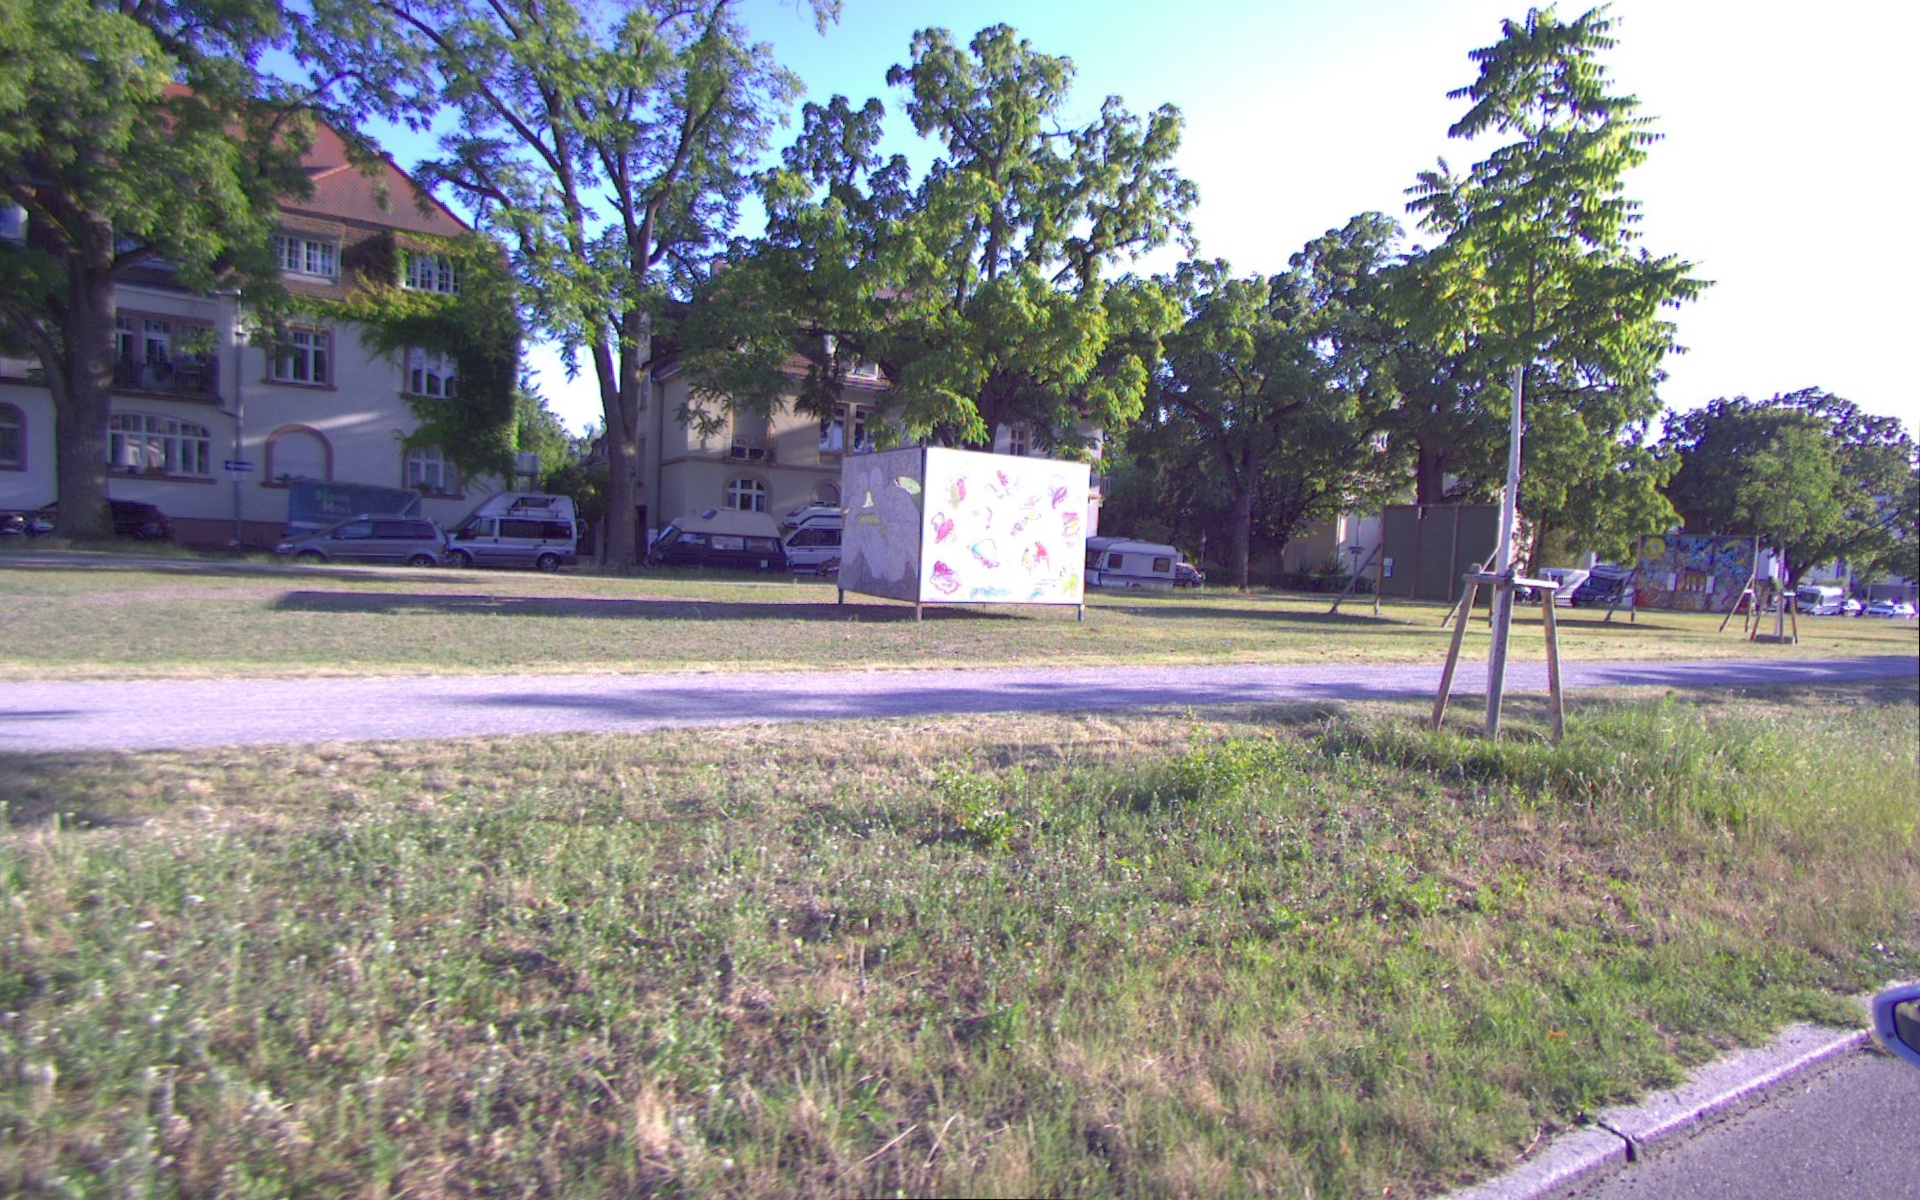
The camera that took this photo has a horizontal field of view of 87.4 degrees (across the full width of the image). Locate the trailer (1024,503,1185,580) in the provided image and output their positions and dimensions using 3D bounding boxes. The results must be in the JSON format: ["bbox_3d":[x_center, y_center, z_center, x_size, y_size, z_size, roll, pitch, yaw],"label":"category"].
[{"bbox_3d":[6.090,-2.344,42.011,6.562,2.694,2.460,3,0,-31],"label":"trailer"}]

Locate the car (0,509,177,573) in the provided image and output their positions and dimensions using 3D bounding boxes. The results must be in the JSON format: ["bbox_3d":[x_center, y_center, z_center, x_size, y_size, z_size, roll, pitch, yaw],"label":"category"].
[{"bbox_3d":[-26.293,-1.766,29.954,4.391,1.683,1.919,1,4,-30],"label":"car"}]

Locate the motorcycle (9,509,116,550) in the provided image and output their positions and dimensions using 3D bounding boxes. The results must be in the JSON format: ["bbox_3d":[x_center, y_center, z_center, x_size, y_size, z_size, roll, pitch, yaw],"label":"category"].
[{"bbox_3d":[-23.737,-1.867,26.601,2.096,0.970,0.559,0,5,-43],"label":"motorcycle"}]

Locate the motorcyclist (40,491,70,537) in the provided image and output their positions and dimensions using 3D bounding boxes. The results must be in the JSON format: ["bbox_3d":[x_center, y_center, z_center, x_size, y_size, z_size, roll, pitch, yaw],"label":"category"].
[{"bbox_3d":[-23.928,-2.279,26.566,0.571,1.165,0.740,0,5,-44],"label":"motorcyclist"}]

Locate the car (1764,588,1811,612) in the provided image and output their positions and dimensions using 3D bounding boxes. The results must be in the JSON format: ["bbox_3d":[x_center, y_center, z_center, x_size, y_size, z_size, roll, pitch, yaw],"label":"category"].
[{"bbox_3d":[73.645,-0.015,89.363,4.660,1.879,1.721,3,0,-31],"label":"car"}]

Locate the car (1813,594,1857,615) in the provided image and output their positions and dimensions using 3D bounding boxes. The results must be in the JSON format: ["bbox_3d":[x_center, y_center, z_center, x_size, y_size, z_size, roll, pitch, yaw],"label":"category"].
[{"bbox_3d":[82.364,0.432,94.552,4.613,1.725,1.773,3,0,-31],"label":"car"}]

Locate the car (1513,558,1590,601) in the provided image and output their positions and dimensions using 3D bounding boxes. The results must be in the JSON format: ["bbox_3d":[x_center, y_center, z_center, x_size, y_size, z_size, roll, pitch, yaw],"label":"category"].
[{"bbox_3d":[41.666,-1.414,70.709,6.020,2.632,1.983,3,0,-31],"label":"car"}]

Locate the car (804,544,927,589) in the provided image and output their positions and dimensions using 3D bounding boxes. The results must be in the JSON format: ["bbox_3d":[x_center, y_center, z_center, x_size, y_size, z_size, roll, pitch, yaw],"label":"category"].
[{"bbox_3d":[-3.435,-1.212,36.500,3.991,1.333,1.845,2,5,-28],"label":"car"}]

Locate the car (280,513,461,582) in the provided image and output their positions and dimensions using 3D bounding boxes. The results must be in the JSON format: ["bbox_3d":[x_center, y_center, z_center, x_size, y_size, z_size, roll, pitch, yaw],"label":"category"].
[{"bbox_3d":[-16.730,-1.486,28.658,4.295,1.752,1.983,1,4,-32],"label":"car"}]

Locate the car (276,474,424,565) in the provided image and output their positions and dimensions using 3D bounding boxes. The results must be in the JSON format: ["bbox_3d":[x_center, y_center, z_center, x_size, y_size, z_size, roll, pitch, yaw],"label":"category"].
[{"bbox_3d":[-20.095,-2.627,33.269,3.954,2.575,1.984,3,3,-30],"label":"car"}]

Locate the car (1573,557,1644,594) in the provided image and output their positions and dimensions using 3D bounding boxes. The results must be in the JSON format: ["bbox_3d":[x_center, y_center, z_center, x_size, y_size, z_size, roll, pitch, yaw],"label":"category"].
[{"bbox_3d":[40.337,-1.498,62.484,3.952,2.041,1.984,1,4,-30],"label":"car"}]

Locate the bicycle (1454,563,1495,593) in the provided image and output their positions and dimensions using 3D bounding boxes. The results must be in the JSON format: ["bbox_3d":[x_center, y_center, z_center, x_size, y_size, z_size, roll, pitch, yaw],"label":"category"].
[{"bbox_3d":[25.857,-1.097,50.454,2.300,1.360,0.508,2,4,-27],"label":"bicycle"}]

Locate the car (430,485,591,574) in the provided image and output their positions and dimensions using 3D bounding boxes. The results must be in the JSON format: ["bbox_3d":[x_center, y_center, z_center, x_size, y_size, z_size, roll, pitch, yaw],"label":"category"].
[{"bbox_3d":[-15.982,-2.412,35.755,4.986,2.675,1.936,3,0,-30],"label":"car"}]

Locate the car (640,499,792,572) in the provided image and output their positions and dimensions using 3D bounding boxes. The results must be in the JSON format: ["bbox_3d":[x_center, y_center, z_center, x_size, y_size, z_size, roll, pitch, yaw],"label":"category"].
[{"bbox_3d":[-8.135,-2.133,33.644,4.521,2.204,1.982,1,4,-33],"label":"car"}]

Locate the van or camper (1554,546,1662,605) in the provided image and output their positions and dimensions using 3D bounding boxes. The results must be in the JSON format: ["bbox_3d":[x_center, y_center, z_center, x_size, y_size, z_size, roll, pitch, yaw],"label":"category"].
[{"bbox_3d":[40.337,-1.498,62.484,6.822,3.307,2.629,1,4,-30],"label":"van or camper"}]

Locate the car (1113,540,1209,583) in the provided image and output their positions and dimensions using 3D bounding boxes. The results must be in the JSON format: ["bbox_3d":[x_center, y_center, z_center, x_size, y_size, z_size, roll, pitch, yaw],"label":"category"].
[{"bbox_3d":[10.320,-1.973,51.586,4.658,1.938,1.881,1,4,-30],"label":"car"}]

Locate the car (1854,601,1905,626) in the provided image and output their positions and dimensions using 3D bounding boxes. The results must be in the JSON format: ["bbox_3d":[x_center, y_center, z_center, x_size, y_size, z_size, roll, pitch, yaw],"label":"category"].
[{"bbox_3d":[77.946,1.145,85.168,4.587,1.924,1.825,3,0,-30],"label":"car"}]

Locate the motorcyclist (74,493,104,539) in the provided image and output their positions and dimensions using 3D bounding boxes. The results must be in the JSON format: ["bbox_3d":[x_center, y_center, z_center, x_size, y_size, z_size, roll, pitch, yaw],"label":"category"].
[{"bbox_3d":[-23.362,-2.250,26.933,0.571,1.165,0.740,0,5,-44],"label":"motorcyclist"}]

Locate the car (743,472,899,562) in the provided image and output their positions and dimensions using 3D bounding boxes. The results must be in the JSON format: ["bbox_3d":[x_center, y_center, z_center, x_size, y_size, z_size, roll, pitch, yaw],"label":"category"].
[{"bbox_3d":[-5.719,-3.385,41.684,6.004,3.293,1.983,1,4,-31],"label":"car"}]

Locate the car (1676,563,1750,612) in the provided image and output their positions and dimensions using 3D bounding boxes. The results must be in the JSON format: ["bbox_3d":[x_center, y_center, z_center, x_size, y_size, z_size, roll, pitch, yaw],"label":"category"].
[{"bbox_3d":[61.254,-0.958,81.679,6.686,3.606,2.292,3,0,-30],"label":"car"}]

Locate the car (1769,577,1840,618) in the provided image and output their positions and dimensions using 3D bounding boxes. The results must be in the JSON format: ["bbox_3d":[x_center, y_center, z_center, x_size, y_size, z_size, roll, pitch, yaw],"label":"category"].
[{"bbox_3d":[64.813,-0.191,77.081,5.802,2.863,2.250,3,0,-30],"label":"car"}]
